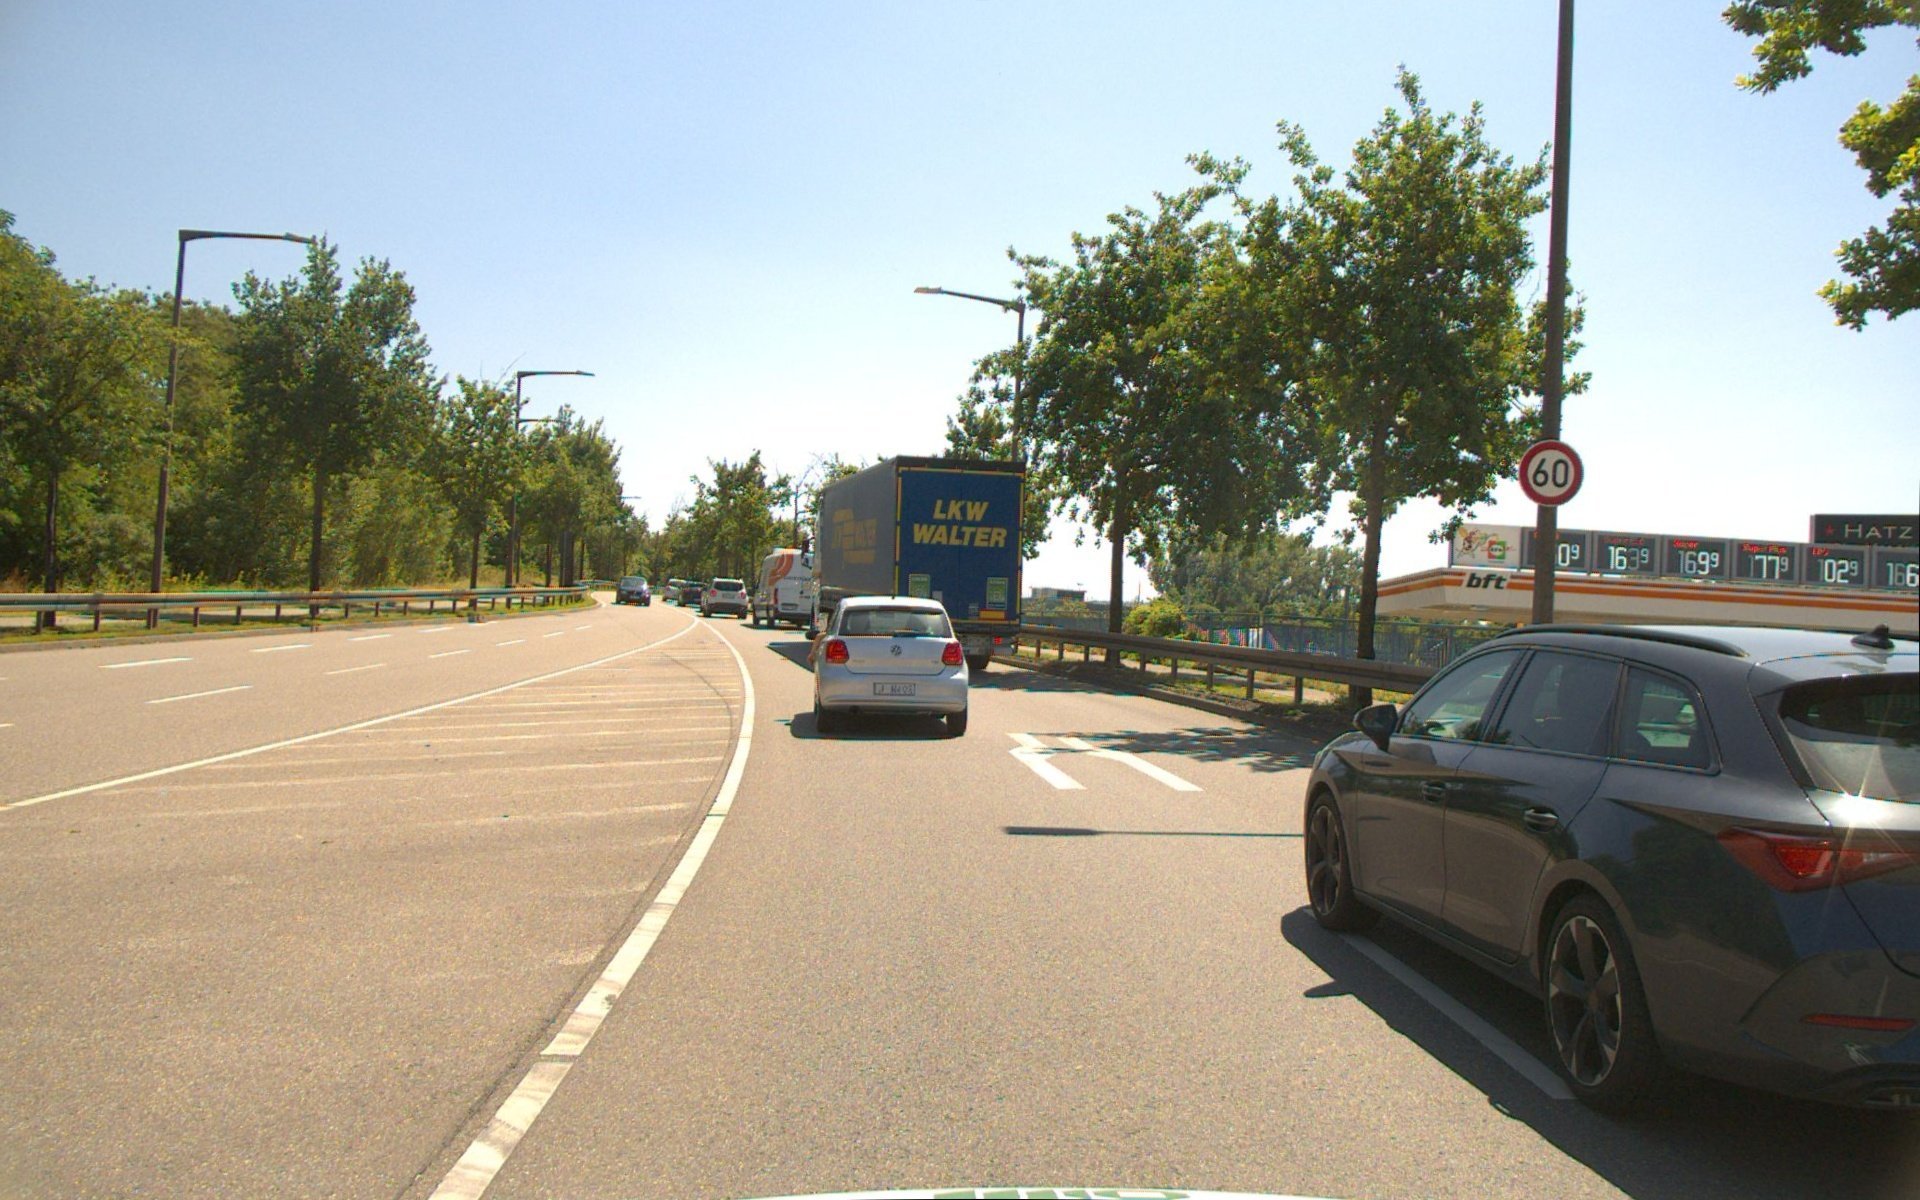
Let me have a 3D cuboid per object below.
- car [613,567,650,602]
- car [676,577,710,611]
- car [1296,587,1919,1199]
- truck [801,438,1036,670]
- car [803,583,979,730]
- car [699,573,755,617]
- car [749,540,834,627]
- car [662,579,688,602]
[{"bbox_3d":[-17.018,-0.830,85.870,1.648,1.700,3.748,2,1,-9],"label":"car"},{"bbox_3d":[-15.195,-0.312,94.041,1.691,1.756,3.989,3,-2,-11],"label":"car"},{"bbox_3d":[2.633,0.803,6.124,1.573,1.481,4.230,2,-2,-5],"label":"car"},{"bbox_3d":[-1.533,-0.764,39.456,2.782,4.272,16.428,2,-1,-11],"label":"truck"},{"bbox_3d":[-0.875,0.639,18.925,1.615,1.464,3.530,3,-2,-8],"label":"car"},{"bbox_3d":[-10.241,-0.190,72.446,1.872,1.748,4.206,3,-2,-15],"label":"car"},{"bbox_3d":[-6.283,-0.595,60.979,2.139,2.951,6.335,2,0,-14],"label":"car"},{"bbox_3d":[-18.601,-0.618,107.970,1.579,1.384,3.653,2,-1,-10],"label":"car"}]
